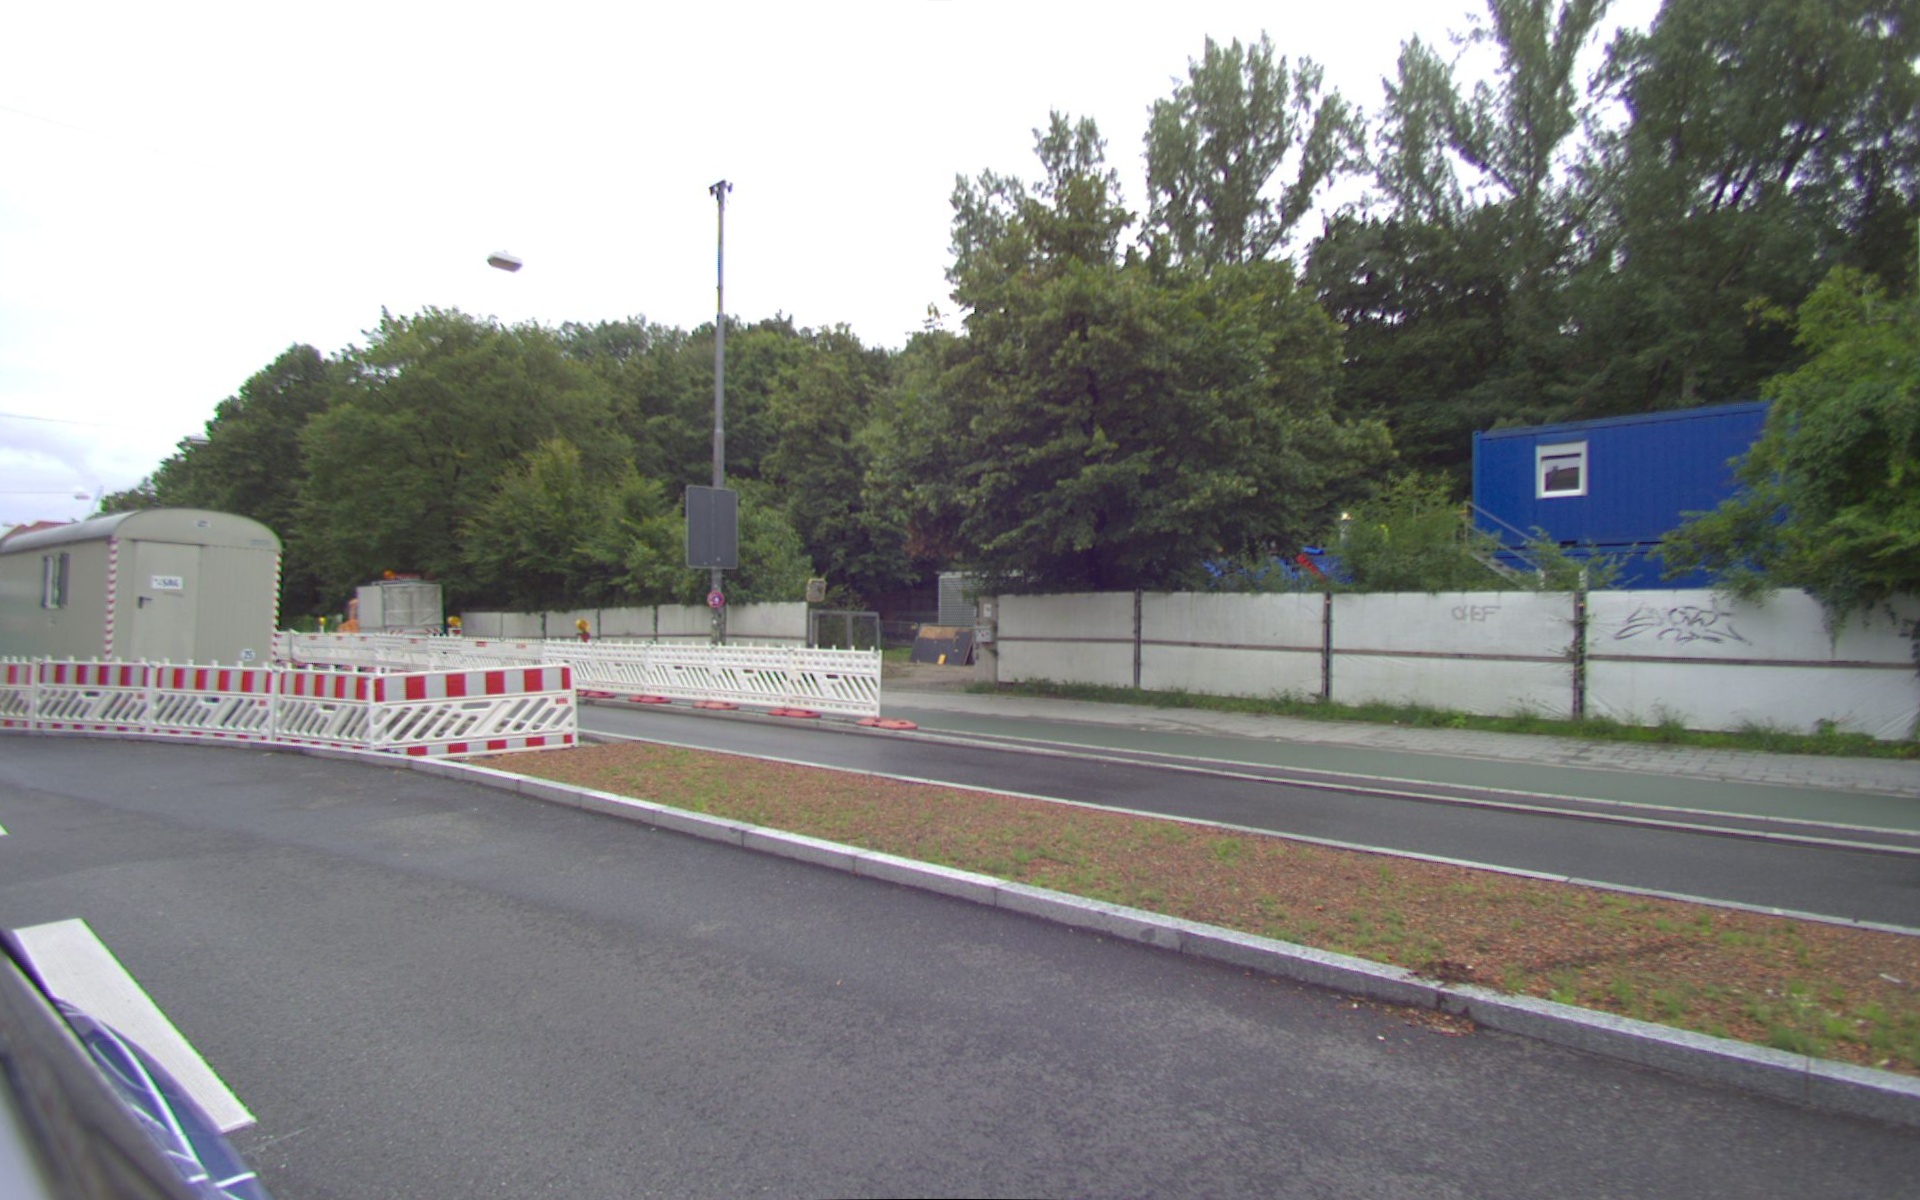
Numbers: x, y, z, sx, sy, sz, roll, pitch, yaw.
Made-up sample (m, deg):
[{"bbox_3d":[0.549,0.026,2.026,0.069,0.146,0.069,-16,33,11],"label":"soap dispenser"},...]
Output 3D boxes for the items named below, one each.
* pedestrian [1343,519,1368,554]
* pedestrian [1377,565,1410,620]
[{"bbox_3d":[14.226,-2.282,36.383,0.790,1.194,0.678,-1,-2,19],"label":"pedestrian"},{"bbox_3d":[14.299,-0.226,33.364,0.832,1.788,0.786,-1,-2,37],"label":"pedestrian"}]
